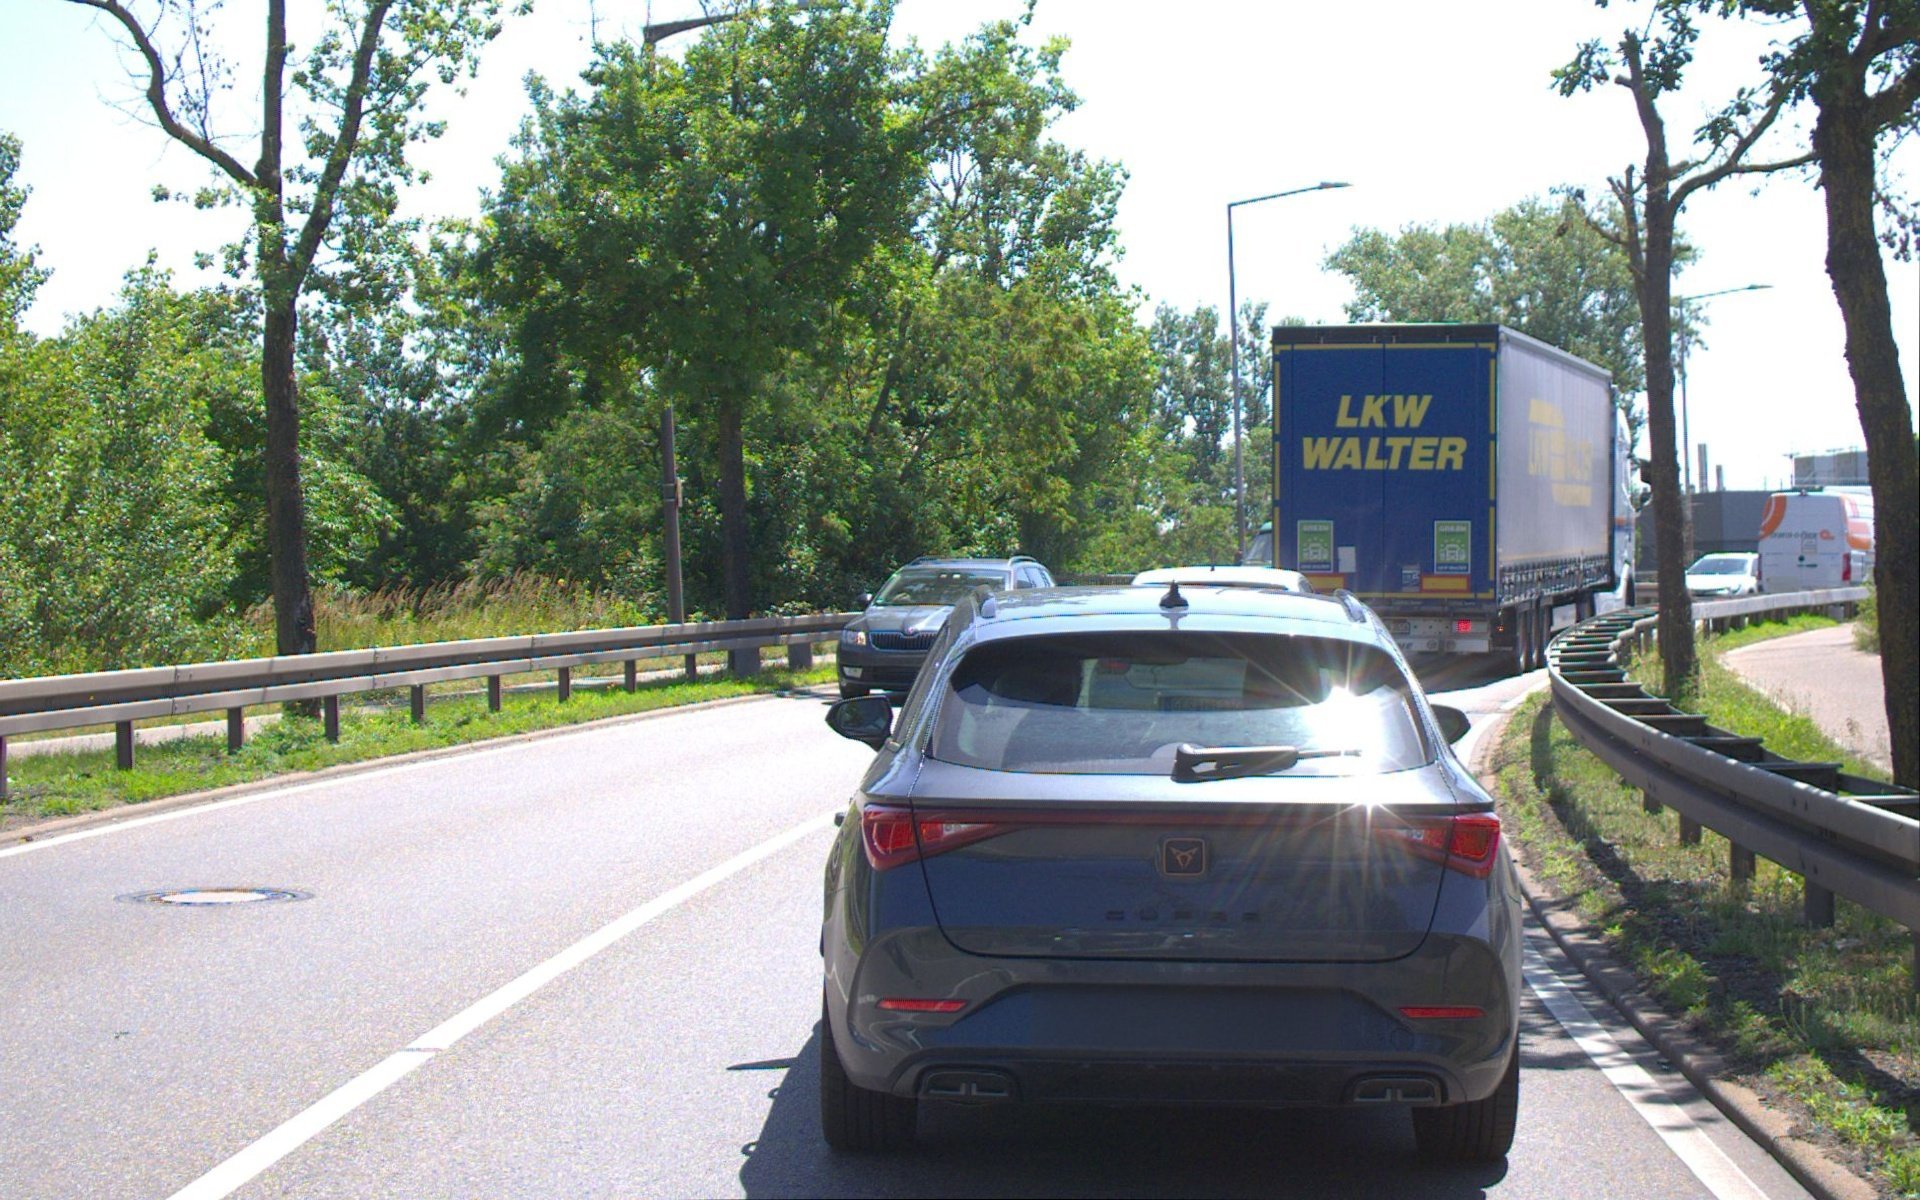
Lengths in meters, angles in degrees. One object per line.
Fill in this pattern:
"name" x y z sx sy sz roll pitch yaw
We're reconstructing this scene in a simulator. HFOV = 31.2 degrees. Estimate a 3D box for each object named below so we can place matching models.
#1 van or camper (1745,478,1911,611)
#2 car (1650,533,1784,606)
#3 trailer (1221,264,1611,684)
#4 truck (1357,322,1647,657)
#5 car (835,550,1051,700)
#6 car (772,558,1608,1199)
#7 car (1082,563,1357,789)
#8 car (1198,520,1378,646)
"van or camper" 18.526 -1.187 73.186 2.206 2.702 5.917 0 1 26
"car" 17.255 -0.716 78.255 1.801 1.612 3.993 1 1 31
"trailer" 6.201 -1.489 44.274 3.136 4.598 12.939 1 1 16
"truck" 8.146 -1.552 50.863 3.172 4.569 7.390 1 0 17
"car" -0.109 0.209 35.594 1.744 1.442 4.516 0 1 6
"car" 0.472 0.640 9.467 1.845 1.493 3.758 0 1 -1
"car" 1.925 0.482 24.649 1.594 1.456 3.543 1 1 10
"car" 5.306 -0.296 55.107 1.832 1.932 4.771 0 1 19
